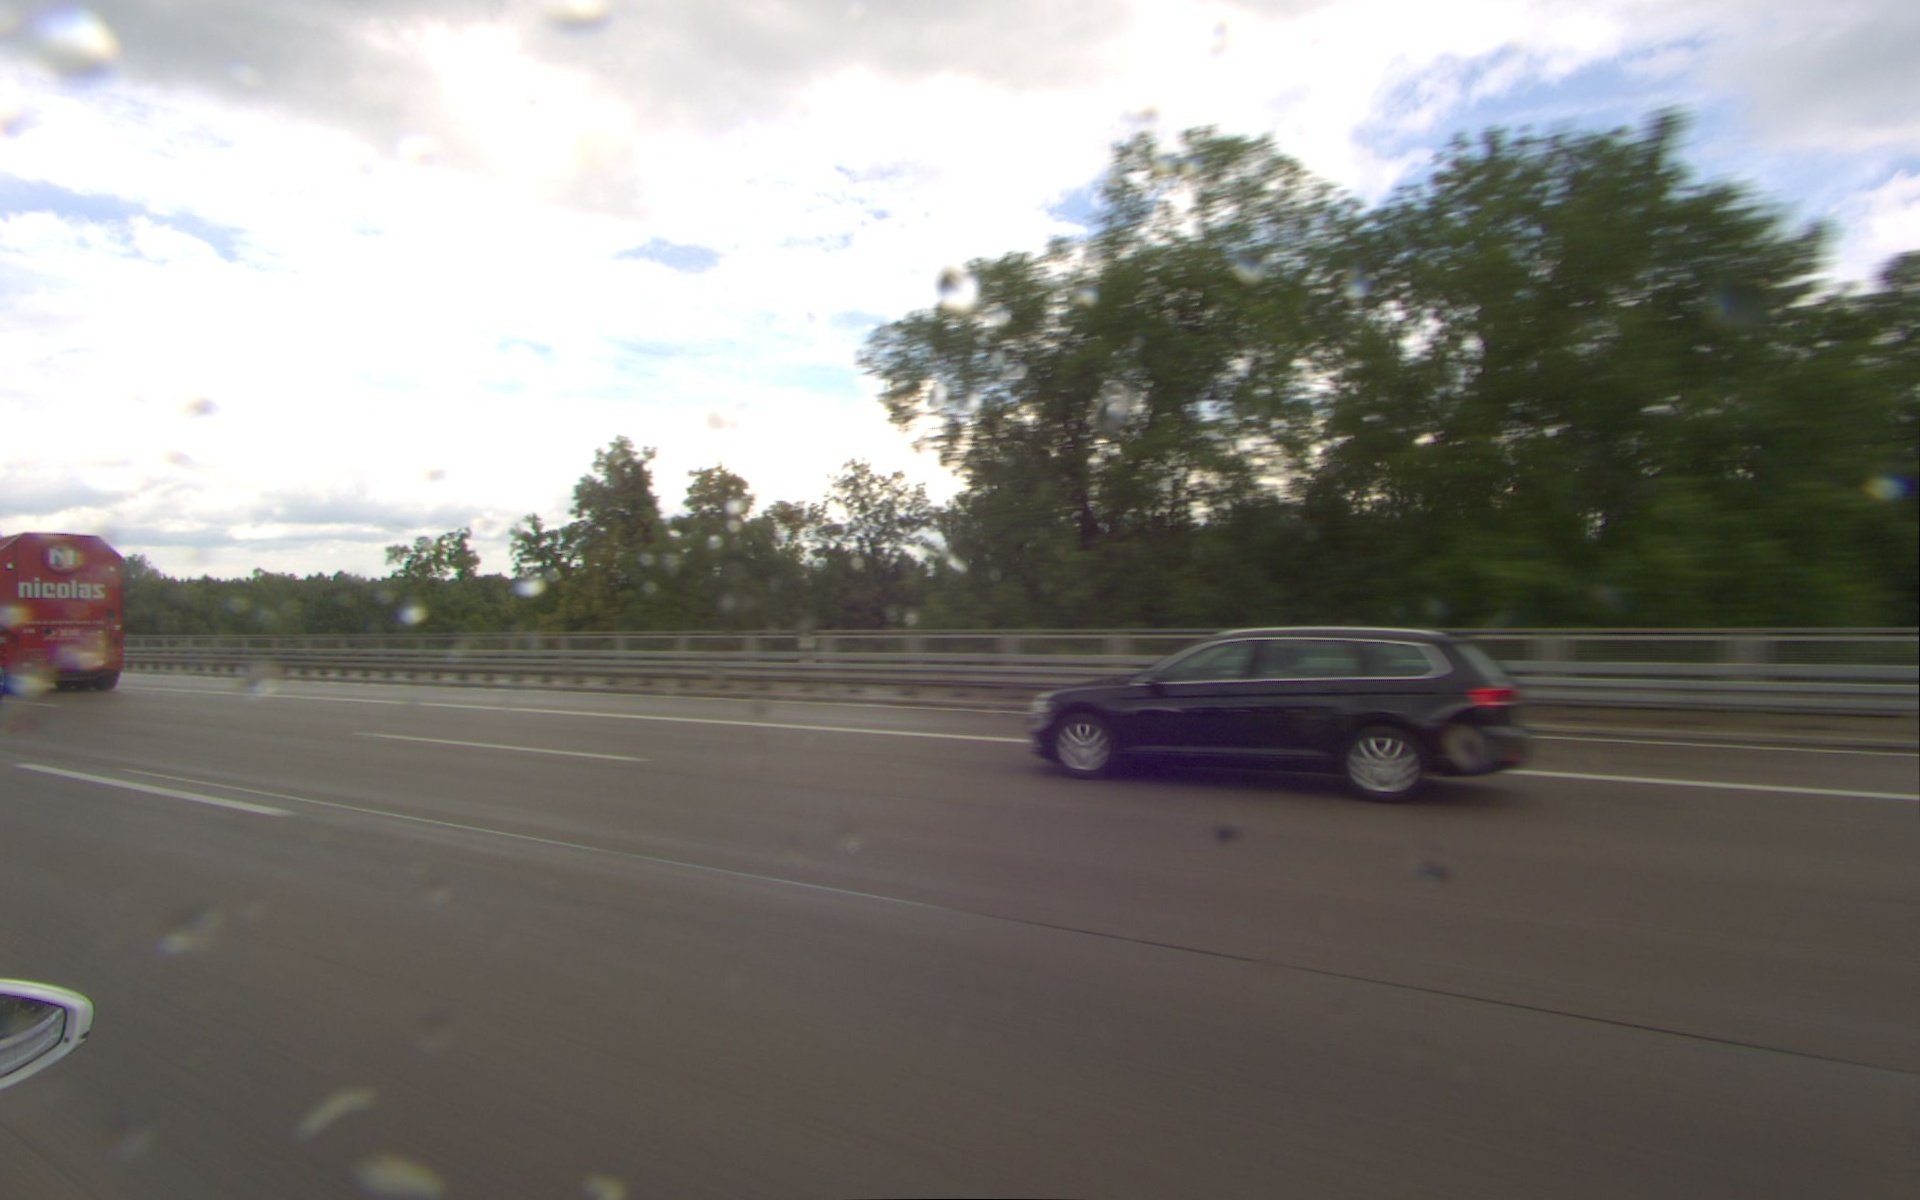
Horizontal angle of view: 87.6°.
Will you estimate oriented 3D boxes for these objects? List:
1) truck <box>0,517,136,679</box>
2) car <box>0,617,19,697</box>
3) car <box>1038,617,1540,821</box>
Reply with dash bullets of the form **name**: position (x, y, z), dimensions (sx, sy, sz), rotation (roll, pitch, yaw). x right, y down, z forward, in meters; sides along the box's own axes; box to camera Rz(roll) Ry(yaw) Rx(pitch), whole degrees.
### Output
- **truck**: position (-29.921, 0.048, 30.363), dimensions (15.415, 4.055, 3.146), rotation (-1, -1, 33)
- **car**: position (-20.810, 1.139, 20.218), dimensions (3.669, 1.582, 1.789), rotation (-1, -1, 33)
- **car**: position (3.069, 0.952, 9.595), dimensions (4.293, 1.563, 1.812), rotation (0, -1, 30)
